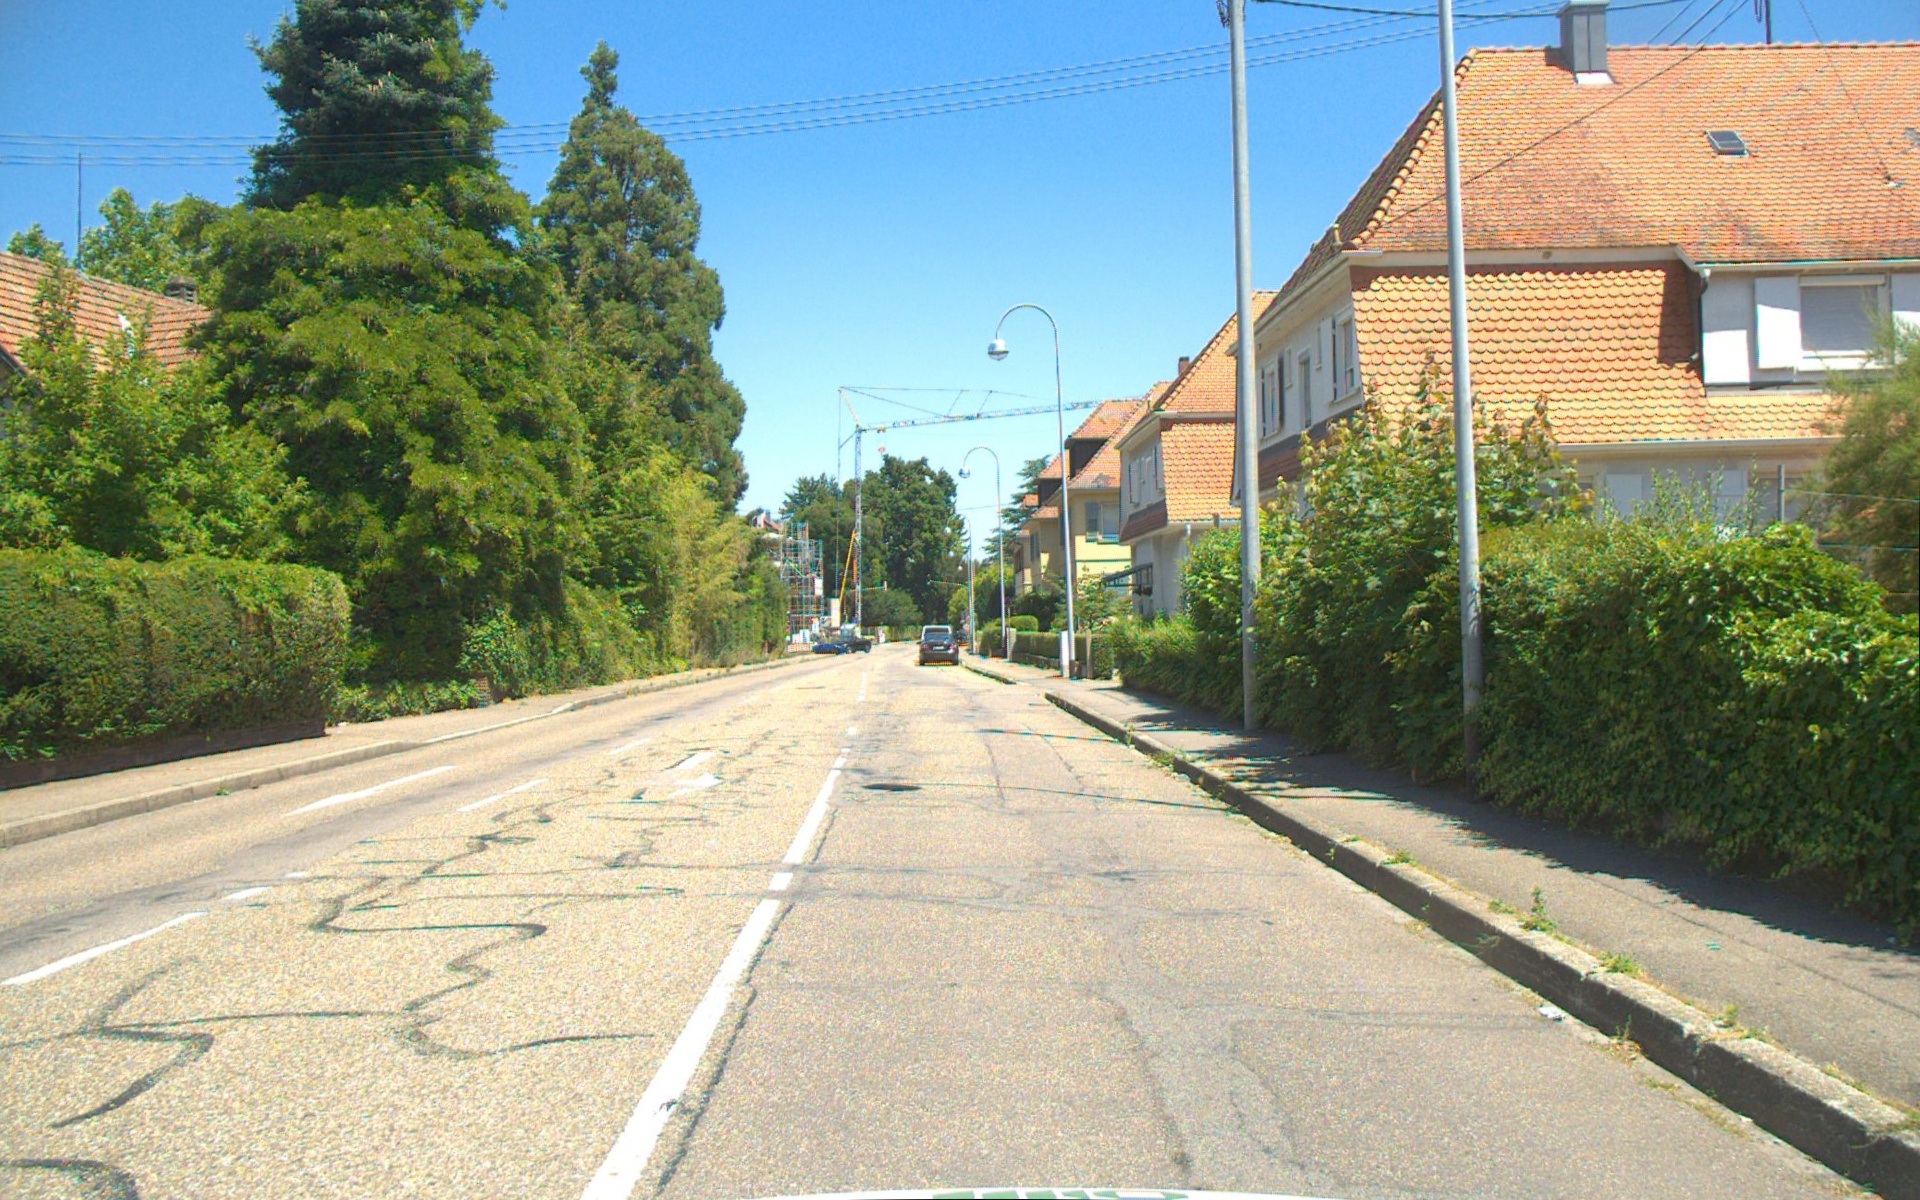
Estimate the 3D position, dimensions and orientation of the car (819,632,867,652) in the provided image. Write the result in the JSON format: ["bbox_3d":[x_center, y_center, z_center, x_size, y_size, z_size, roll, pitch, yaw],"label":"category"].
[{"bbox_3d":[-9.757,3.449,137.356,3.909,1.494,1.963,-2,0,-5],"label":"car"}]

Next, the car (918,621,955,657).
[{"bbox_3d":[-1.321,2.166,92.269,1.953,1.934,4.820,1,-2,-2],"label":"car"}]

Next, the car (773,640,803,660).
[{"bbox_3d":[-13.010,3.781,125.285,1.625,1.413,3.536,-2,-2,4],"label":"car"}]

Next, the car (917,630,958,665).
[{"bbox_3d":[-1.023,2.099,72.355,1.659,1.444,4.548,-1,-2,-2],"label":"car"}]
